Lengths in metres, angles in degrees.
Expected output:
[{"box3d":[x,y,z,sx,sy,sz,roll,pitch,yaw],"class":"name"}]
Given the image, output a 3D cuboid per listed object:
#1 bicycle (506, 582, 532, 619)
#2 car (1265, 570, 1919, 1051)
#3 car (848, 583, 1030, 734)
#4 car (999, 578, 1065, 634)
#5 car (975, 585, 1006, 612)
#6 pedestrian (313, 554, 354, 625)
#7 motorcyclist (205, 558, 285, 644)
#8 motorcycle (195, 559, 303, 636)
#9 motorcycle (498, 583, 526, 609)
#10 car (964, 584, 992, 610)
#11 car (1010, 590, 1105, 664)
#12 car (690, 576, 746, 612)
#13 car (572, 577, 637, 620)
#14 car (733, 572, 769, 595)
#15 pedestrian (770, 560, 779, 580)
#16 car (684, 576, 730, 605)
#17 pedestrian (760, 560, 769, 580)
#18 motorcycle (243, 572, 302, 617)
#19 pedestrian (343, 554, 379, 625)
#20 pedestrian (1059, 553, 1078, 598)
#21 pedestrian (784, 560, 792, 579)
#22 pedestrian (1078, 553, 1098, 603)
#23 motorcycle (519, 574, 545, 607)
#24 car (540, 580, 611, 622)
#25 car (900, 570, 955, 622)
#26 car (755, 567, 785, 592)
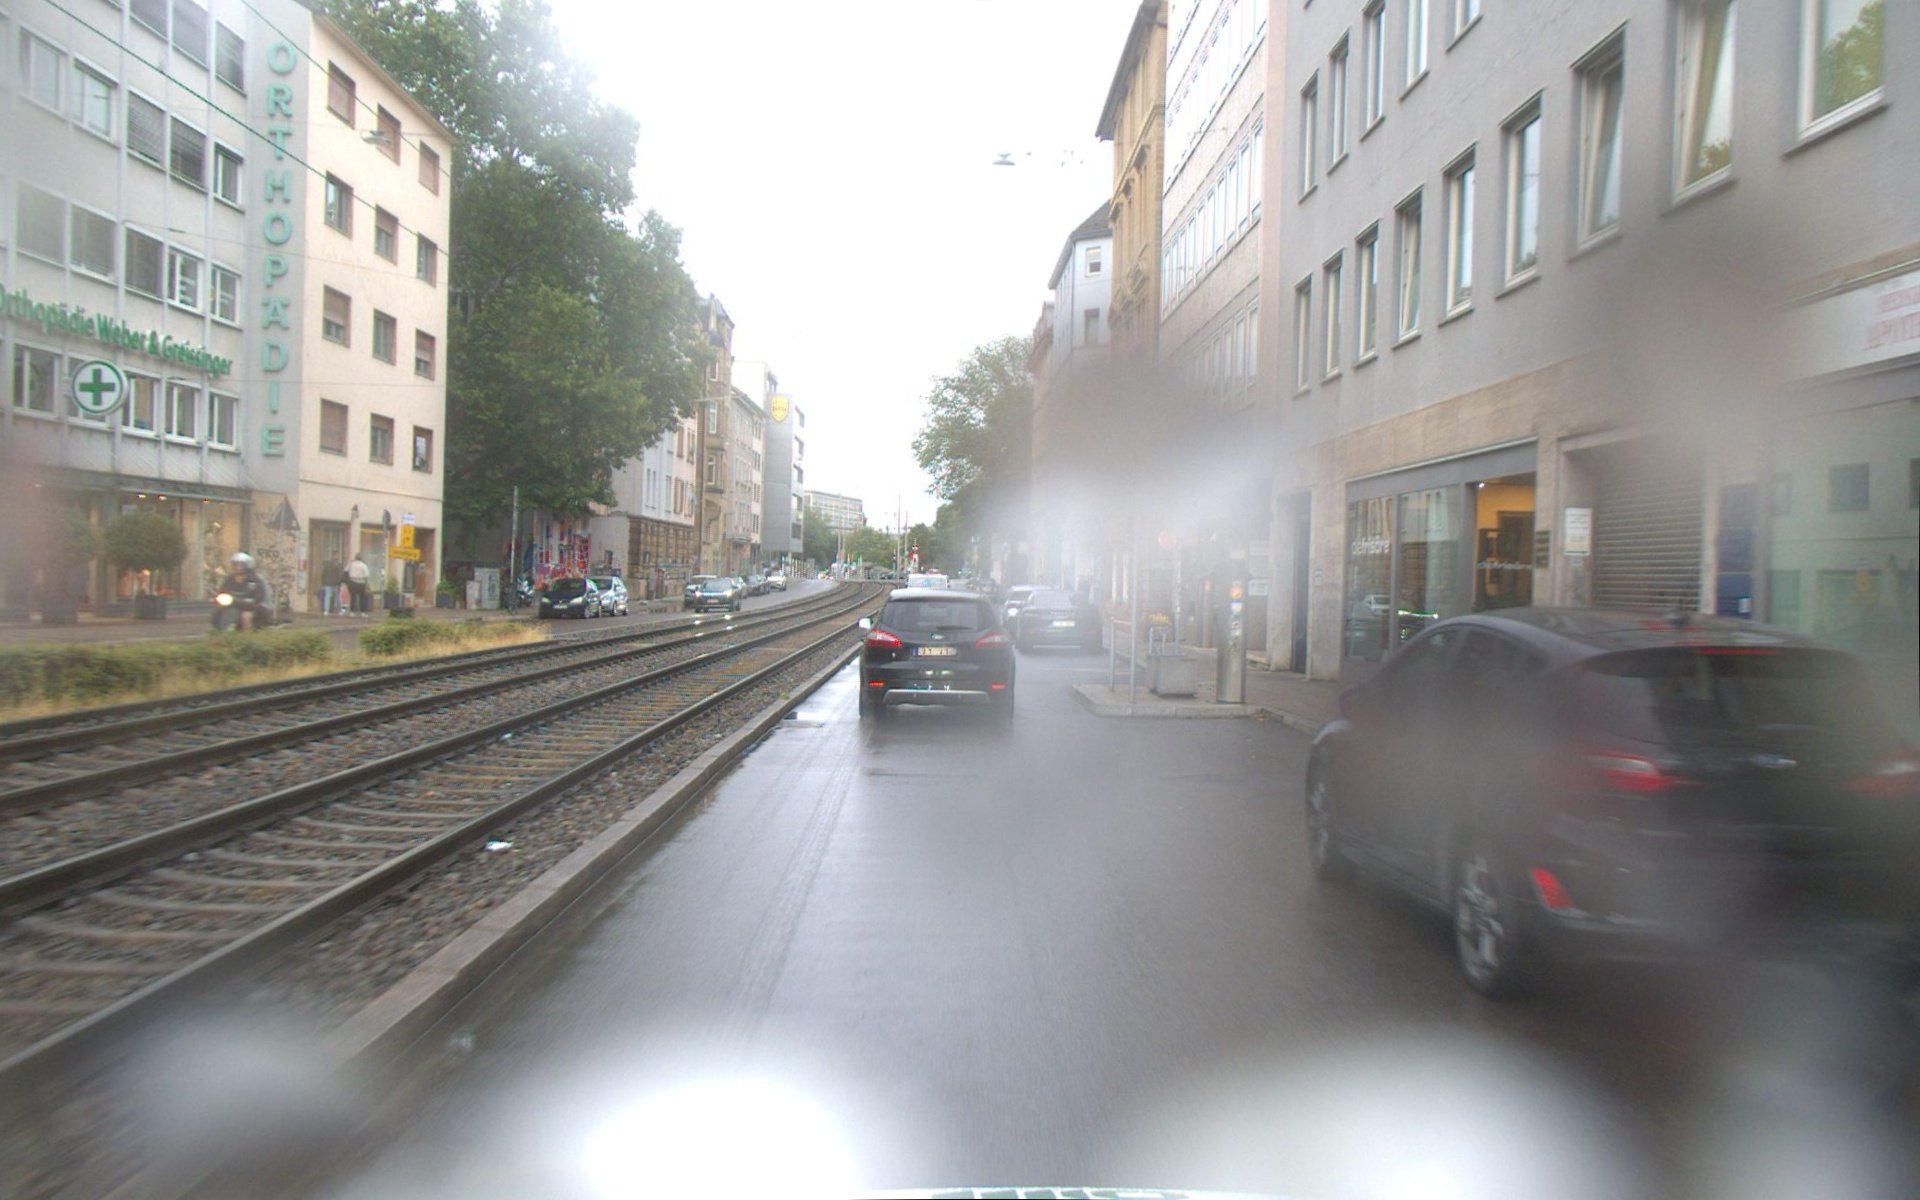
[{"box3d":[-15.536,0.018,58.306,0.579,1.248,2.399,2,0,-8],"class":"bicycle"},{"box3d":[2.823,0.720,7.776,1.953,1.622,4.271,1,0,0],"class":"car"},{"box3d":[-0.238,0.635,20.078,1.953,1.622,4.271,1,0,0],"class":"car"},{"box3d":[2.155,0.153,50.547,1.711,1.549,4.354,1,1,-1],"class":"car"},{"box3d":[1.865,-0.104,102.256,1.703,1.515,3.999,1,1,-2],"class":"car"},{"box3d":[-17.323,-0.299,45.772,0.712,1.929,0.983,2,0,-1],"class":"pedestrian"},{"box3d":[-10.606,0.011,24.561,0.726,1.239,0.970,2,0,1],"class":"motorcyclist"},{"box3d":[-10.604,-0.043,24.730,0.727,1.078,1.932,2,0,1],"class":"motorcycle"},{"box3d":[-18.709,-0.160,69.127,0.626,1.051,2.119,2,1,-2],"class":"motorcycle"},{"box3d":[1.145,-0.196,106.719,1.609,1.542,4.038,1,1,-2],"class":"car"},{"box3d":[2.247,0.602,39.166,1.953,1.622,4.571,1,0,0],"class":"car"},{"box3d":[-11.184,-0.292,76.662,1.953,1.545,4.443,2,1,-1],"class":"car"},{"box3d":[-14.167,-0.095,66.115,1.687,1.597,4.219,2,1,-1],"class":"car"},{"box3d":[-14.664,-1.155,116.086,1.953,1.545,4.675,2,1,-1],"class":"car"},{"box3d":[-17.646,-2.866,157.246,0.729,1.886,0.839,1,-1,-2],"class":"pedestrian"},{"box3d":[-14.427,-0.539,94.433,1.953,1.545,4.434,2,1,-1],"class":"car"},{"box3d":[-18.547,-2.857,157.172,0.729,1.886,0.839,1,-1,-2],"class":"pedestrian"},{"box3d":[-19.139,-0.159,46.043,1.447,1.200,0.386,2,1,-2],"class":"motorcycle"},{"box3d":[-16.545,-0.291,45.688,0.664,1.929,0.742,2,0,-1],"class":"pedestrian"},{"box3d":[4.545,-1.028,69.387,0.648,1.884,0.821,1,1,-2],"class":"pedestrian"},{"box3d":[-17.007,-3.006,163.234,0.729,1.886,0.839,1,-1,-2],"class":"pedestrian"},{"box3d":[5.367,-0.937,69.547,0.721,2.048,0.821,1,1,-2],"class":"pedestrian"},{"box3d":[-18.558,-0.433,71.802,0.626,1.403,2.119,2,1,-2],"class":"motorcycle"},{"box3d":[-14.165,0.018,61.170,1.708,1.494,4.219,0,1,-1],"class":"car"},{"box3d":[-1.193,-0.147,62.123,1.953,1.848,4.271,1,0,0],"class":"car"},{"box3d":[-15.286,-1.668,133.498,1.953,1.871,5.069,2,1,-2],"class":"car"}]
